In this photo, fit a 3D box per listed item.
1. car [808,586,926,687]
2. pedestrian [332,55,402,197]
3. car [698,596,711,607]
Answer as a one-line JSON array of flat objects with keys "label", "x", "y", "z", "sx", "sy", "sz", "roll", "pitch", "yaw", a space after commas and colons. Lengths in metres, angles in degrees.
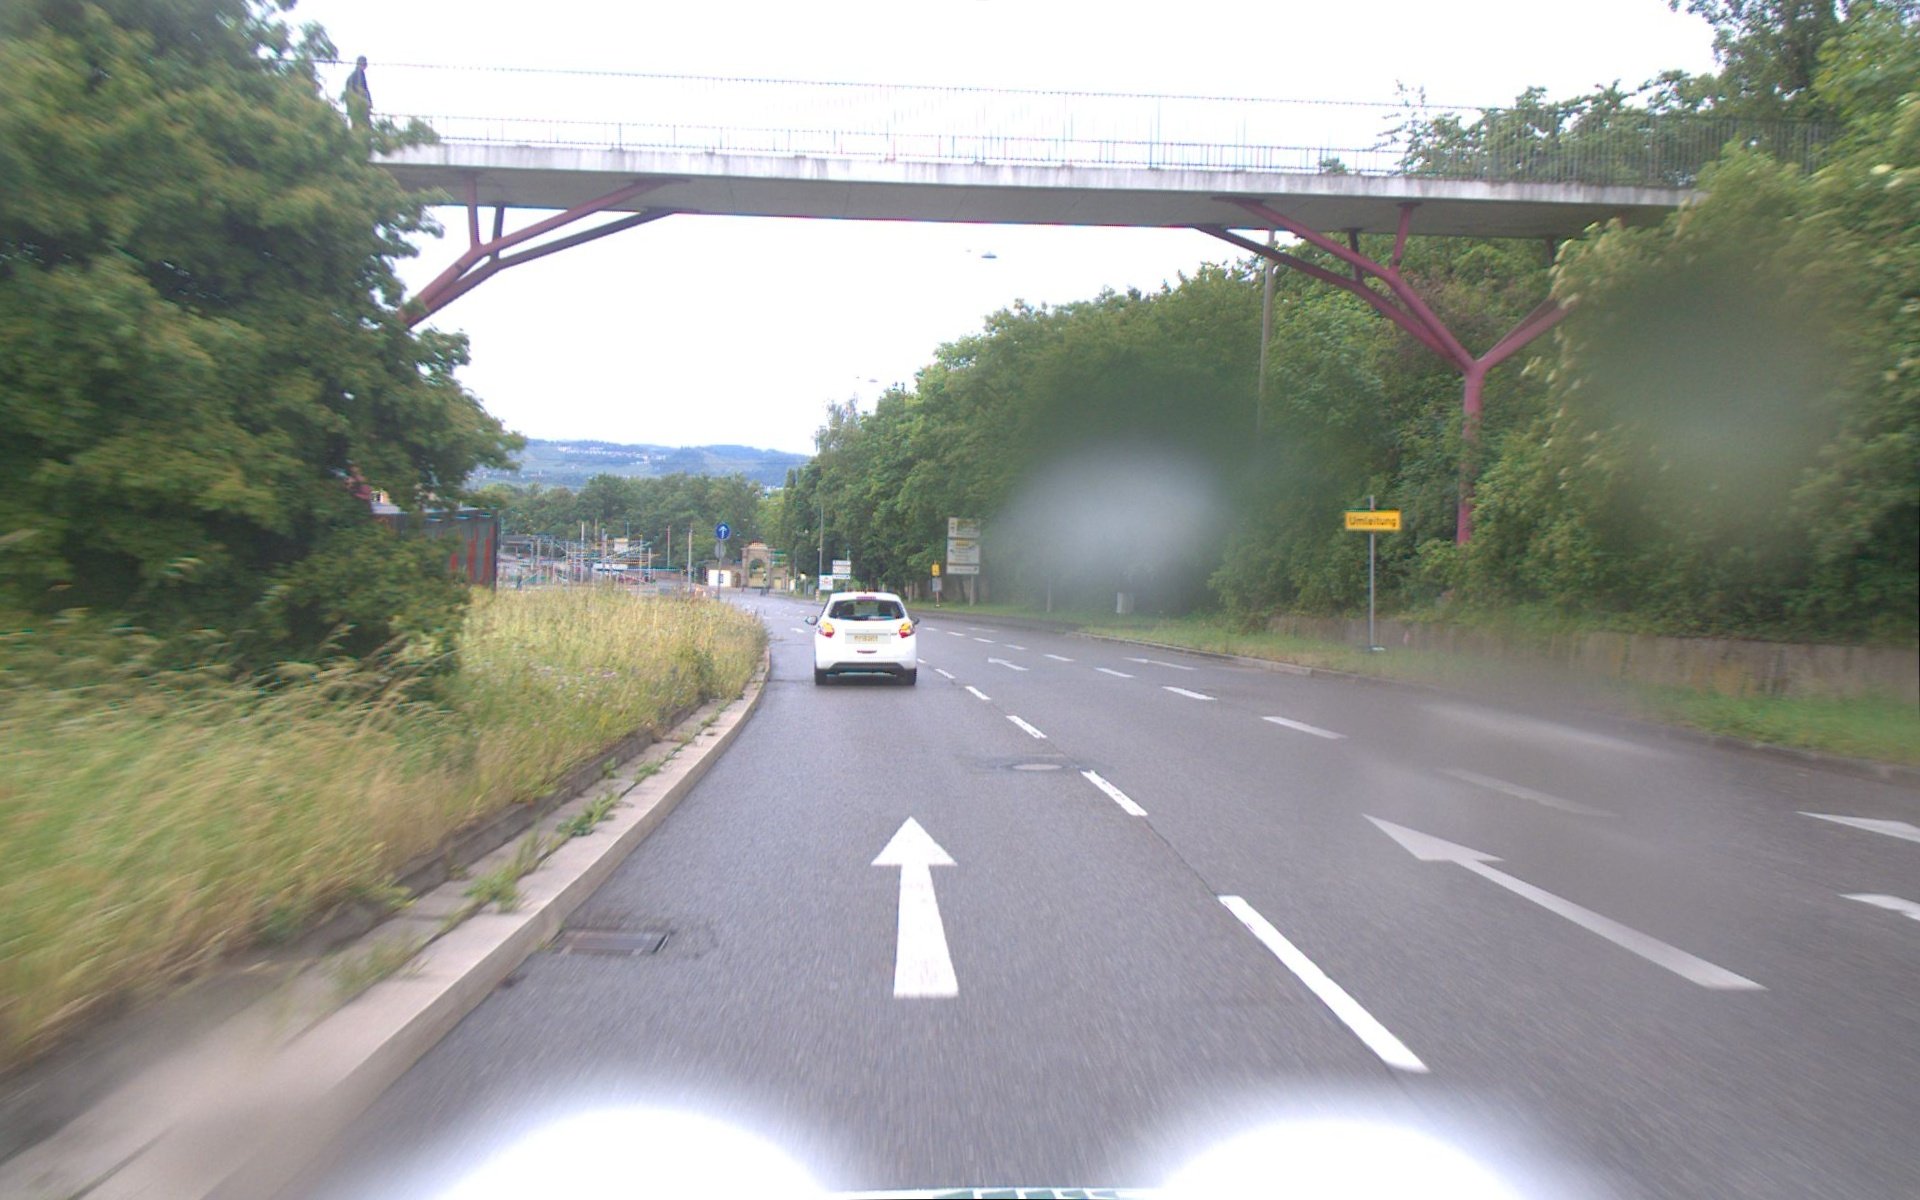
[{"label": "car", "x": -1.610, "y": 0.552, "z": 27.772, "sx": 1.832, "sy": 1.537, "sz": 3.896, "roll": 0, "pitch": 1, "yaw": -5}, {"label": "pedestrian", "x": -9.933, "y": -7.928, "z": 27.734, "sx": 0.897, "sy": 2.181, "sz": 0.731, "roll": -1, "pitch": 0, "yaw": -6}, {"label": "car", "x": -37.316, "y": 0.195, "z": 241.417, "sx": 1.788, "sy": 1.634, "sz": 3.993, "roll": -1, "pitch": 1, "yaw": -8}]
